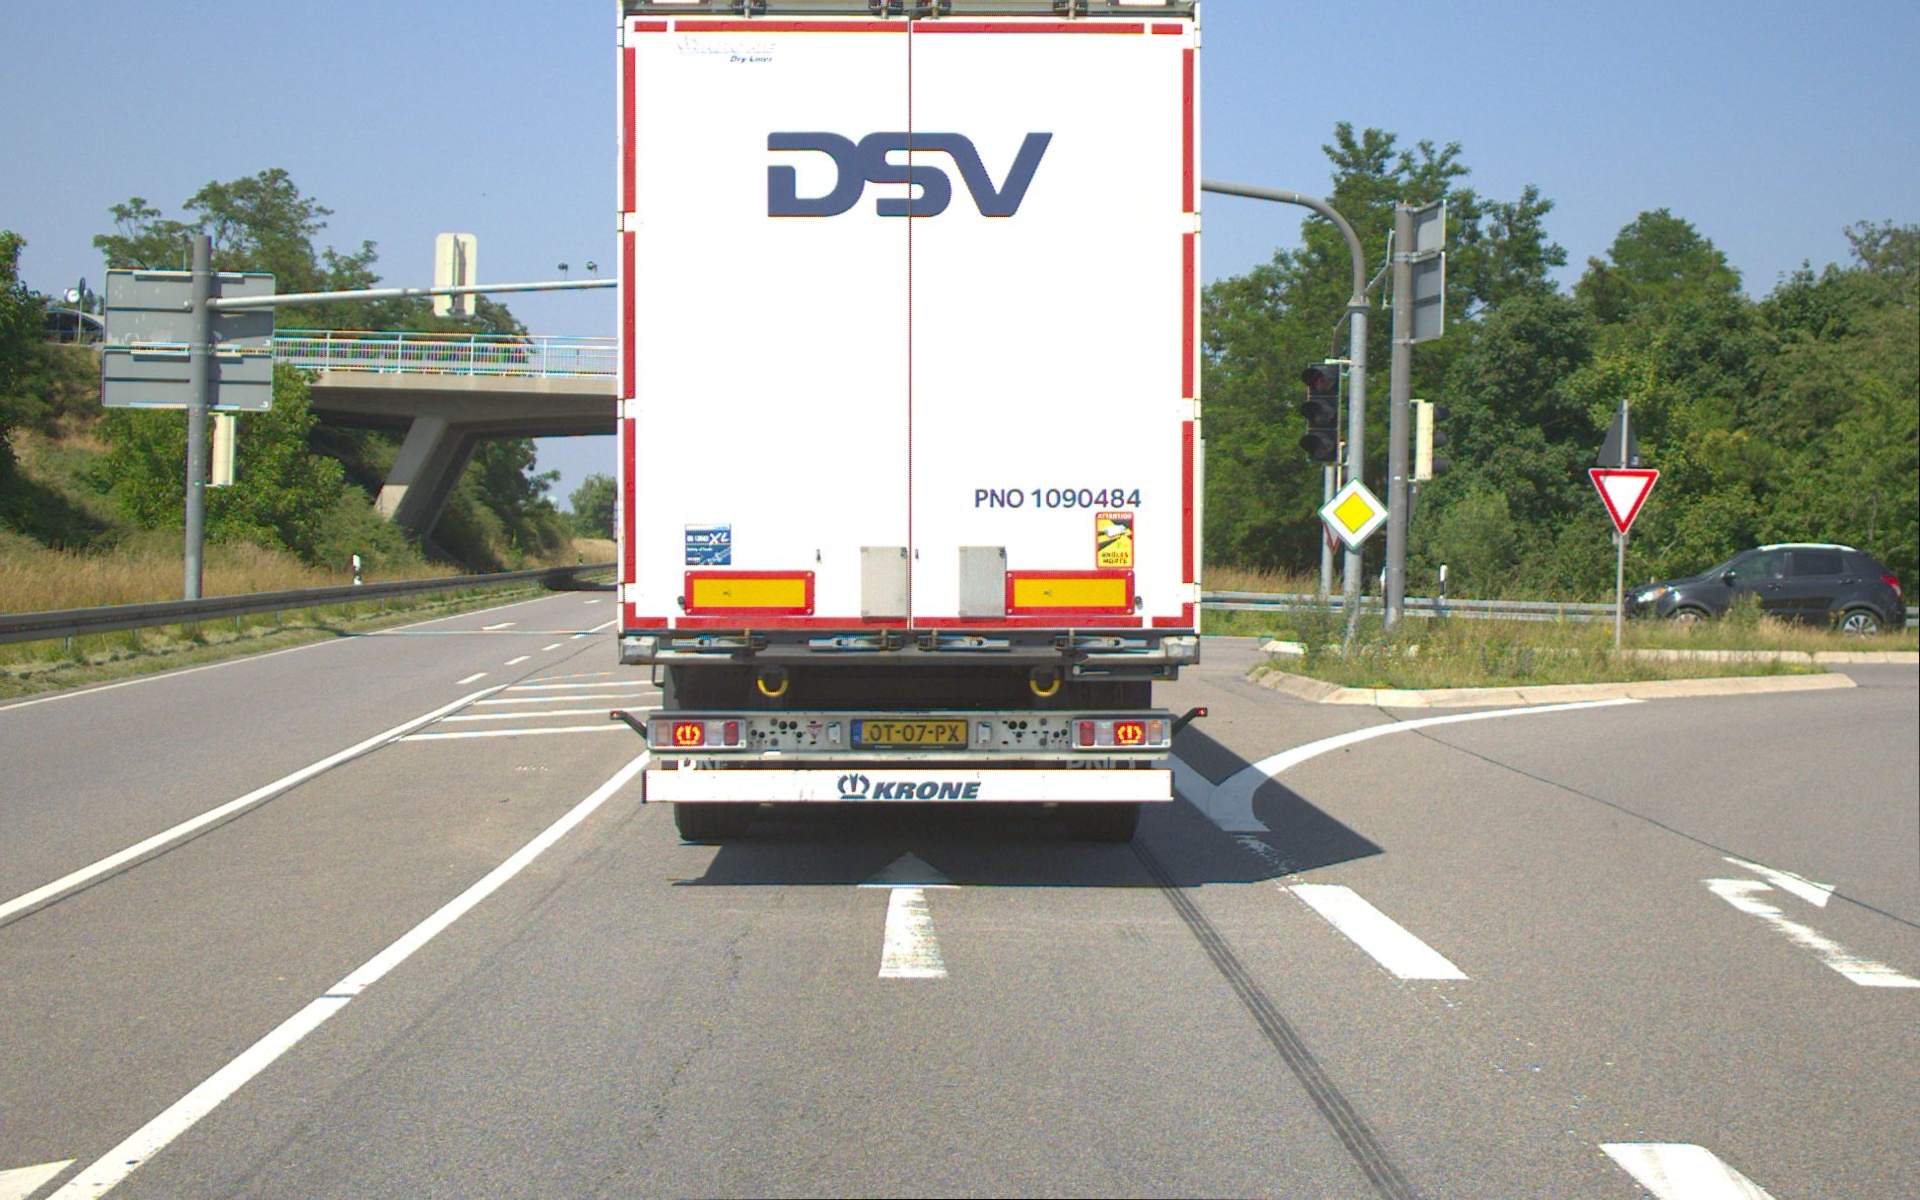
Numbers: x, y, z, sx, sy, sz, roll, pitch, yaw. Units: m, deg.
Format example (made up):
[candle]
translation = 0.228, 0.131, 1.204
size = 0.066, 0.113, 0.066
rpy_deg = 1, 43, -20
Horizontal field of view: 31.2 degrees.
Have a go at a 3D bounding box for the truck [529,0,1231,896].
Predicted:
[truck]
translation = -0.403, -0.763, 19.680
size = 2.987, 3.928, 9.876
rpy_deg = 0, 1, -1

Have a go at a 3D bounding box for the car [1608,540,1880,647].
[car]
translation = 12.376, -0.112, 54.428
size = 3.986, 1.634, 1.841
rpy_deg = 0, 0, 6
